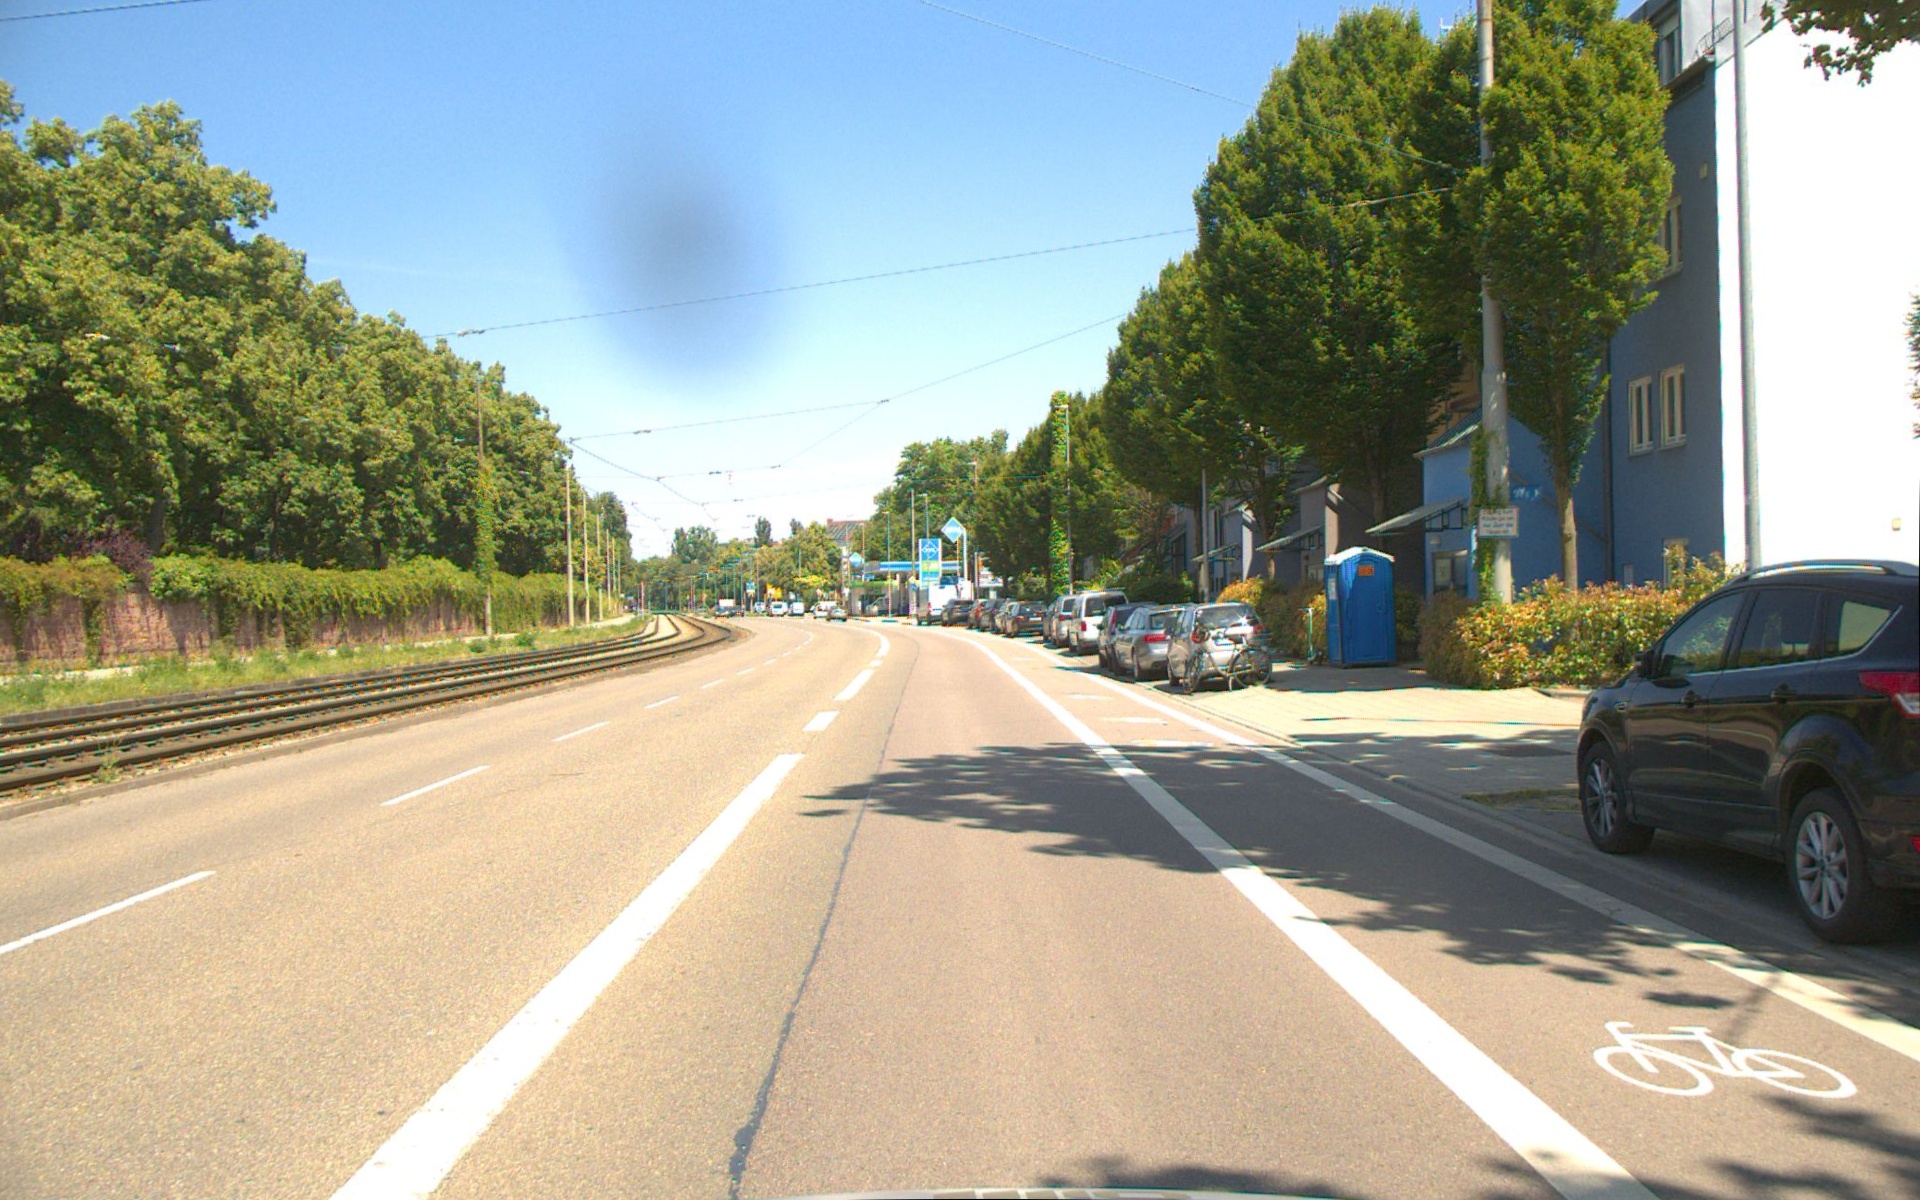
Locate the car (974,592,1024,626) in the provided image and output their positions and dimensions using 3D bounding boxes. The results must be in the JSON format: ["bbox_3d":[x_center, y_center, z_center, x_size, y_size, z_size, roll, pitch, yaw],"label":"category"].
[{"bbox_3d":[1.965,0.443,84.802,1.676,1.589,4.313,-4,0,-10],"label":"car"}]

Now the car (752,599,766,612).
[{"bbox_3d":[-26.248,0.702,215.780,1.723,1.658,4.316,-4,0,-8],"label":"car"}]

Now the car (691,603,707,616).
[{"bbox_3d":[-36.253,1.363,229.491,1.727,1.658,4.306,-4,0,-15],"label":"car"}]

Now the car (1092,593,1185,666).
[{"bbox_3d":[4.323,0.685,40.684,1.803,1.556,4.216,-4,0,1],"label":"car"}]

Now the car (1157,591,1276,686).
[{"bbox_3d":[4.685,0.655,30.646,1.488,1.556,3.816,-4,0,-1],"label":"car"}]

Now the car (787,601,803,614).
[{"bbox_3d":[-21.945,0.960,219.793,1.724,1.658,4.314,-4,0,-10],"label":"car"}]

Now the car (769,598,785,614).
[{"bbox_3d":[-23.650,0.745,213.239,1.724,1.907,4.314,-4,0,-10],"label":"car"}]

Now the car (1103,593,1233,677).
[{"bbox_3d":[4.389,0.696,35.649,1.804,1.556,4.962,-4,0,-3],"label":"car"}]

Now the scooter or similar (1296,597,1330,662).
[{"bbox_3d":[7.217,0.581,33.834,0.376,1.302,1.338,0,0,-1],"label":"scooter or similar"}]

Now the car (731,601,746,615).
[{"bbox_3d":[-29.698,1.068,221.303,1.724,1.658,4.314,-4,0,-10],"label":"car"}]

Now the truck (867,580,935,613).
[{"bbox_3d":[-6.989,-0.368,194.650,7.810,3.665,2.660,-1,0,-4],"label":"truck"}]

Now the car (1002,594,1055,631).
[{"bbox_3d":[2.998,0.531,73.641,1.674,1.518,5.033,-4,0,-5],"label":"car"}]

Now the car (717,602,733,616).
[{"bbox_3d":[-28.884,1.092,203.132,1.724,1.535,4.314,-4,0,-10],"label":"car"}]

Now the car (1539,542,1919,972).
[{"bbox_3d":[4.819,0.590,8.791,1.803,1.736,4.626,-4,0,0],"label":"car"}]

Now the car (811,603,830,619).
[{"bbox_3d":[-15.606,1.212,184.619,1.723,1.658,4.316,-4,0,-8],"label":"car"}]

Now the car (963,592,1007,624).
[{"bbox_3d":[1.361,0.440,90.706,1.675,1.589,4.315,-4,0,-8],"label":"car"}]

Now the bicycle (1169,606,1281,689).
[{"bbox_3d":[4.574,0.815,28.605,1.737,1.249,0.684,-6,0,3],"label":"bicycle"}]

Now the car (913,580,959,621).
[{"bbox_3d":[-1.656,0.040,110.657,1.965,2.499,6.093,-4,0,-11],"label":"car"}]

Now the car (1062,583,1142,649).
[{"bbox_3d":[4.293,0.456,50.626,1.804,1.825,4.352,-4,0,-2],"label":"car"}]

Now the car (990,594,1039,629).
[{"bbox_3d":[2.598,0.547,79.620,1.674,1.518,4.726,-4,0,-6],"label":"car"}]

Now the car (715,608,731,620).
[{"bbox_3d":[-34.816,2.053,243.152,1.727,1.658,4.306,-4,0,-15],"label":"car"}]

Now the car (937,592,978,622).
[{"bbox_3d":[-0.159,0.406,100.651,1.724,1.658,4.314,-4,0,-10],"label":"car"}]

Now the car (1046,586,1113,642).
[{"bbox_3d":[4.054,0.451,56.806,1.803,1.723,4.778,-4,0,0],"label":"car"}]

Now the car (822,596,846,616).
[{"bbox_3d":[-11.687,0.544,153.367,1.724,1.658,4.314,-4,0,-10],"label":"car"}]
